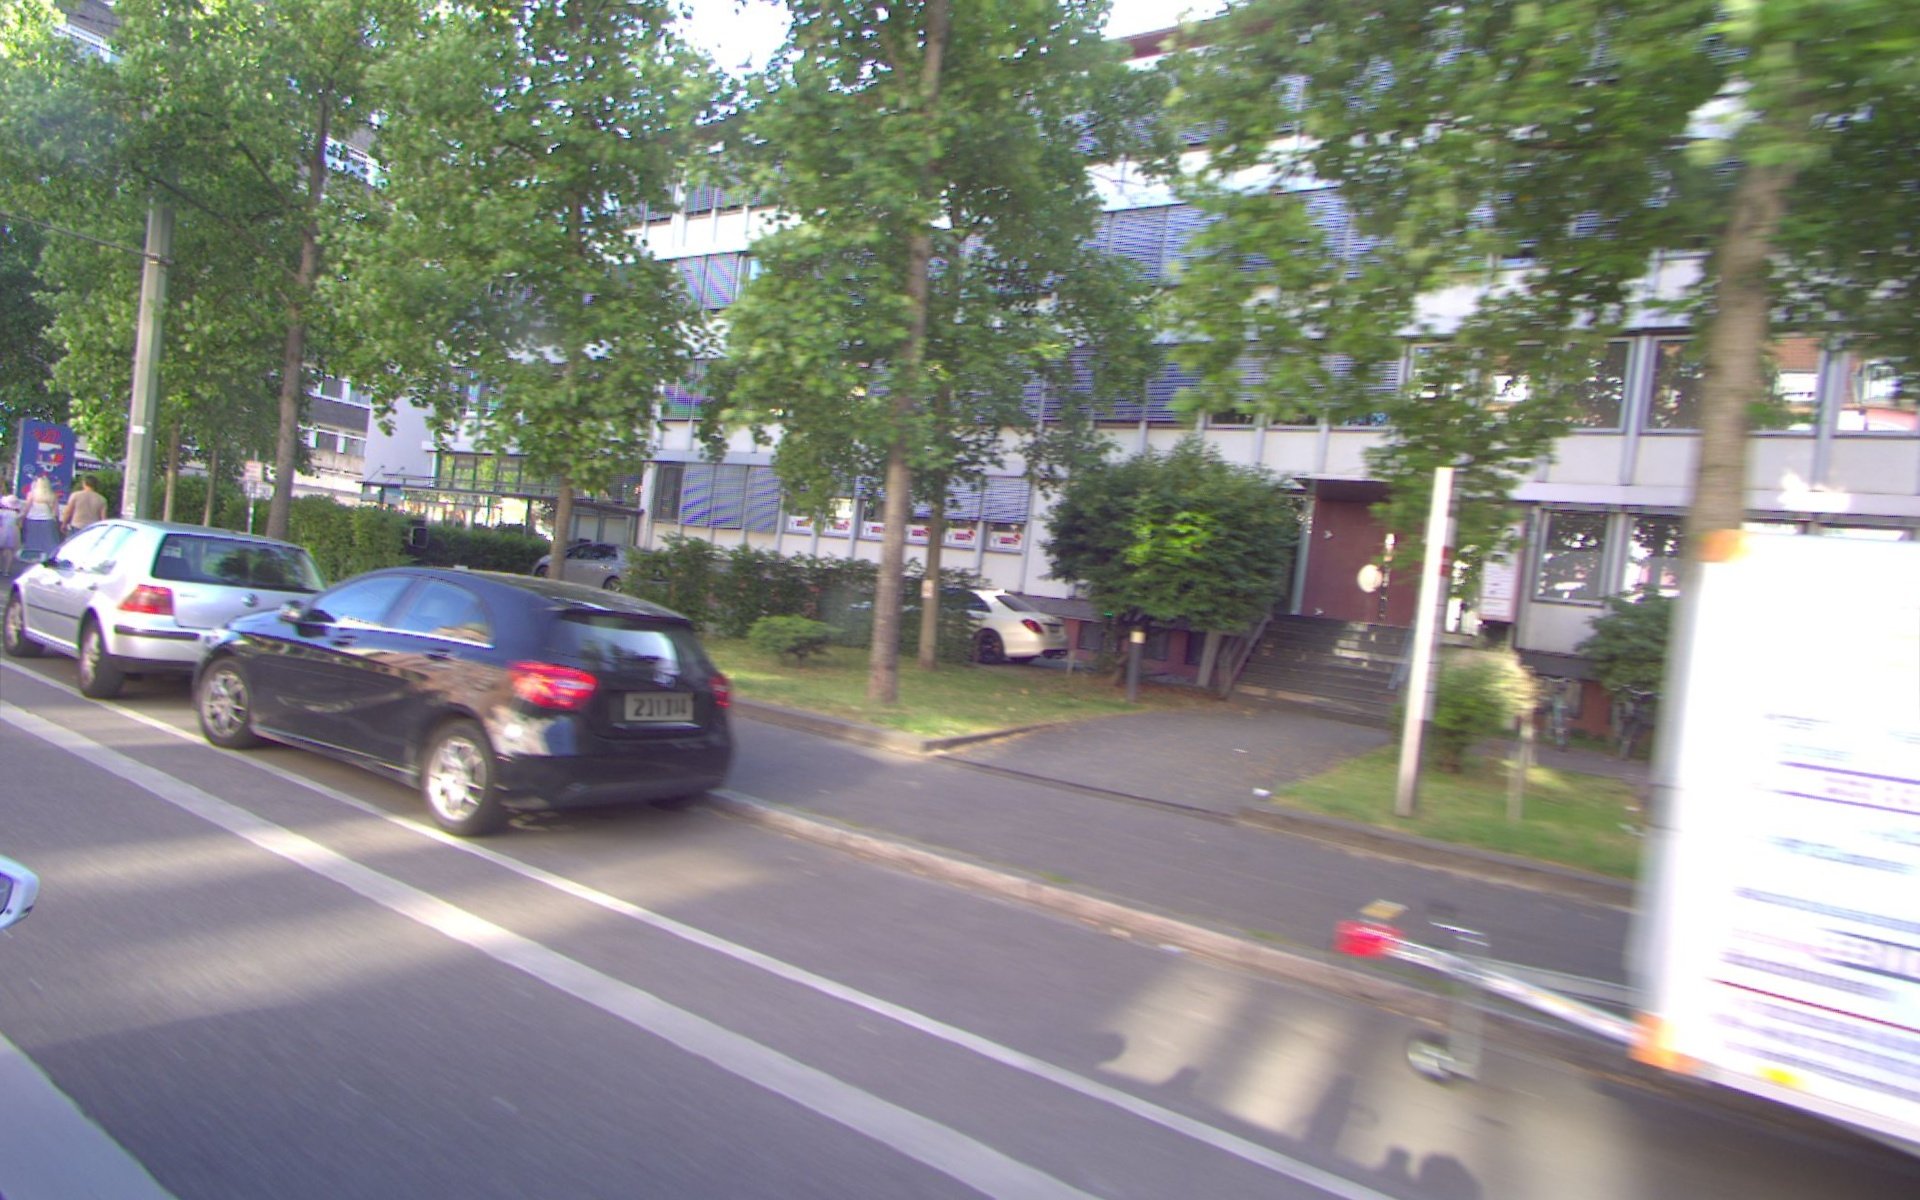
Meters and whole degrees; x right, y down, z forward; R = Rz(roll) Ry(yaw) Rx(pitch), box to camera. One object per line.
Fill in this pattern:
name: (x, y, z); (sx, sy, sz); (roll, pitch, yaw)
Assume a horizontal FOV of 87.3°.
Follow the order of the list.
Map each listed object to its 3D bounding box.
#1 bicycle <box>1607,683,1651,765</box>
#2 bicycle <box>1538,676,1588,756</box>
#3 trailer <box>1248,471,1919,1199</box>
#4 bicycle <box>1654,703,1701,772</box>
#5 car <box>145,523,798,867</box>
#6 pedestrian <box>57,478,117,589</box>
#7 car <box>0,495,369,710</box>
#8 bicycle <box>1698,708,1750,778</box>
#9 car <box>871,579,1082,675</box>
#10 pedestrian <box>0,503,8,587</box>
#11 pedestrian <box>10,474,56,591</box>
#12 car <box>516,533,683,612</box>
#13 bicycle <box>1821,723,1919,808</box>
bicycle: (10.679, 1.956, 16.083); (0.442, 1.140, 1.583); (8, 3, 33)
bicycle: (9.973, 1.886, 16.665); (0.441, 1.130, 1.585); (7, 2, 26)
trailer: (3.108, 0.892, 3.033); (3.780, 2.142, 1.663); (7, -1, 33)
bicycle: (11.263, 2.130, 15.815); (0.442, 0.888, 1.583); (8, 3, 33)
car: (-3.413, 0.481, 6.842); (4.250, 1.451, 1.807); (7, -2, 30)
pedestrian: (-15.821, -1.195, 18.228); (0.736, 1.924, 0.667); (8, 5, 37)
car: (-7.491, -0.041, 9.434); (4.248, 1.460, 1.750); (7, 0, 37)
bicycle: (11.872, 2.198, 15.658); (0.442, 0.888, 1.583); (8, 3, 33)
car: (0.340, 0.543, 21.088); (3.928, 1.482, 1.793); (7, 1, 25)
pedestrian: (-16.665, -0.948, 17.212); (0.416, 1.419, 0.455); (7, 6, 36)
pedestrian: (-16.273, -1.178, 17.655); (0.736, 1.982, 0.464); (8, 5, 37)
car: (-9.823, -0.754, 27.326); (4.235, 1.556, 1.792); (8, 1, 29)
bicycle: (13.432, 2.413, 14.890); (0.441, 0.975, 1.586); (7, 2, 21)
